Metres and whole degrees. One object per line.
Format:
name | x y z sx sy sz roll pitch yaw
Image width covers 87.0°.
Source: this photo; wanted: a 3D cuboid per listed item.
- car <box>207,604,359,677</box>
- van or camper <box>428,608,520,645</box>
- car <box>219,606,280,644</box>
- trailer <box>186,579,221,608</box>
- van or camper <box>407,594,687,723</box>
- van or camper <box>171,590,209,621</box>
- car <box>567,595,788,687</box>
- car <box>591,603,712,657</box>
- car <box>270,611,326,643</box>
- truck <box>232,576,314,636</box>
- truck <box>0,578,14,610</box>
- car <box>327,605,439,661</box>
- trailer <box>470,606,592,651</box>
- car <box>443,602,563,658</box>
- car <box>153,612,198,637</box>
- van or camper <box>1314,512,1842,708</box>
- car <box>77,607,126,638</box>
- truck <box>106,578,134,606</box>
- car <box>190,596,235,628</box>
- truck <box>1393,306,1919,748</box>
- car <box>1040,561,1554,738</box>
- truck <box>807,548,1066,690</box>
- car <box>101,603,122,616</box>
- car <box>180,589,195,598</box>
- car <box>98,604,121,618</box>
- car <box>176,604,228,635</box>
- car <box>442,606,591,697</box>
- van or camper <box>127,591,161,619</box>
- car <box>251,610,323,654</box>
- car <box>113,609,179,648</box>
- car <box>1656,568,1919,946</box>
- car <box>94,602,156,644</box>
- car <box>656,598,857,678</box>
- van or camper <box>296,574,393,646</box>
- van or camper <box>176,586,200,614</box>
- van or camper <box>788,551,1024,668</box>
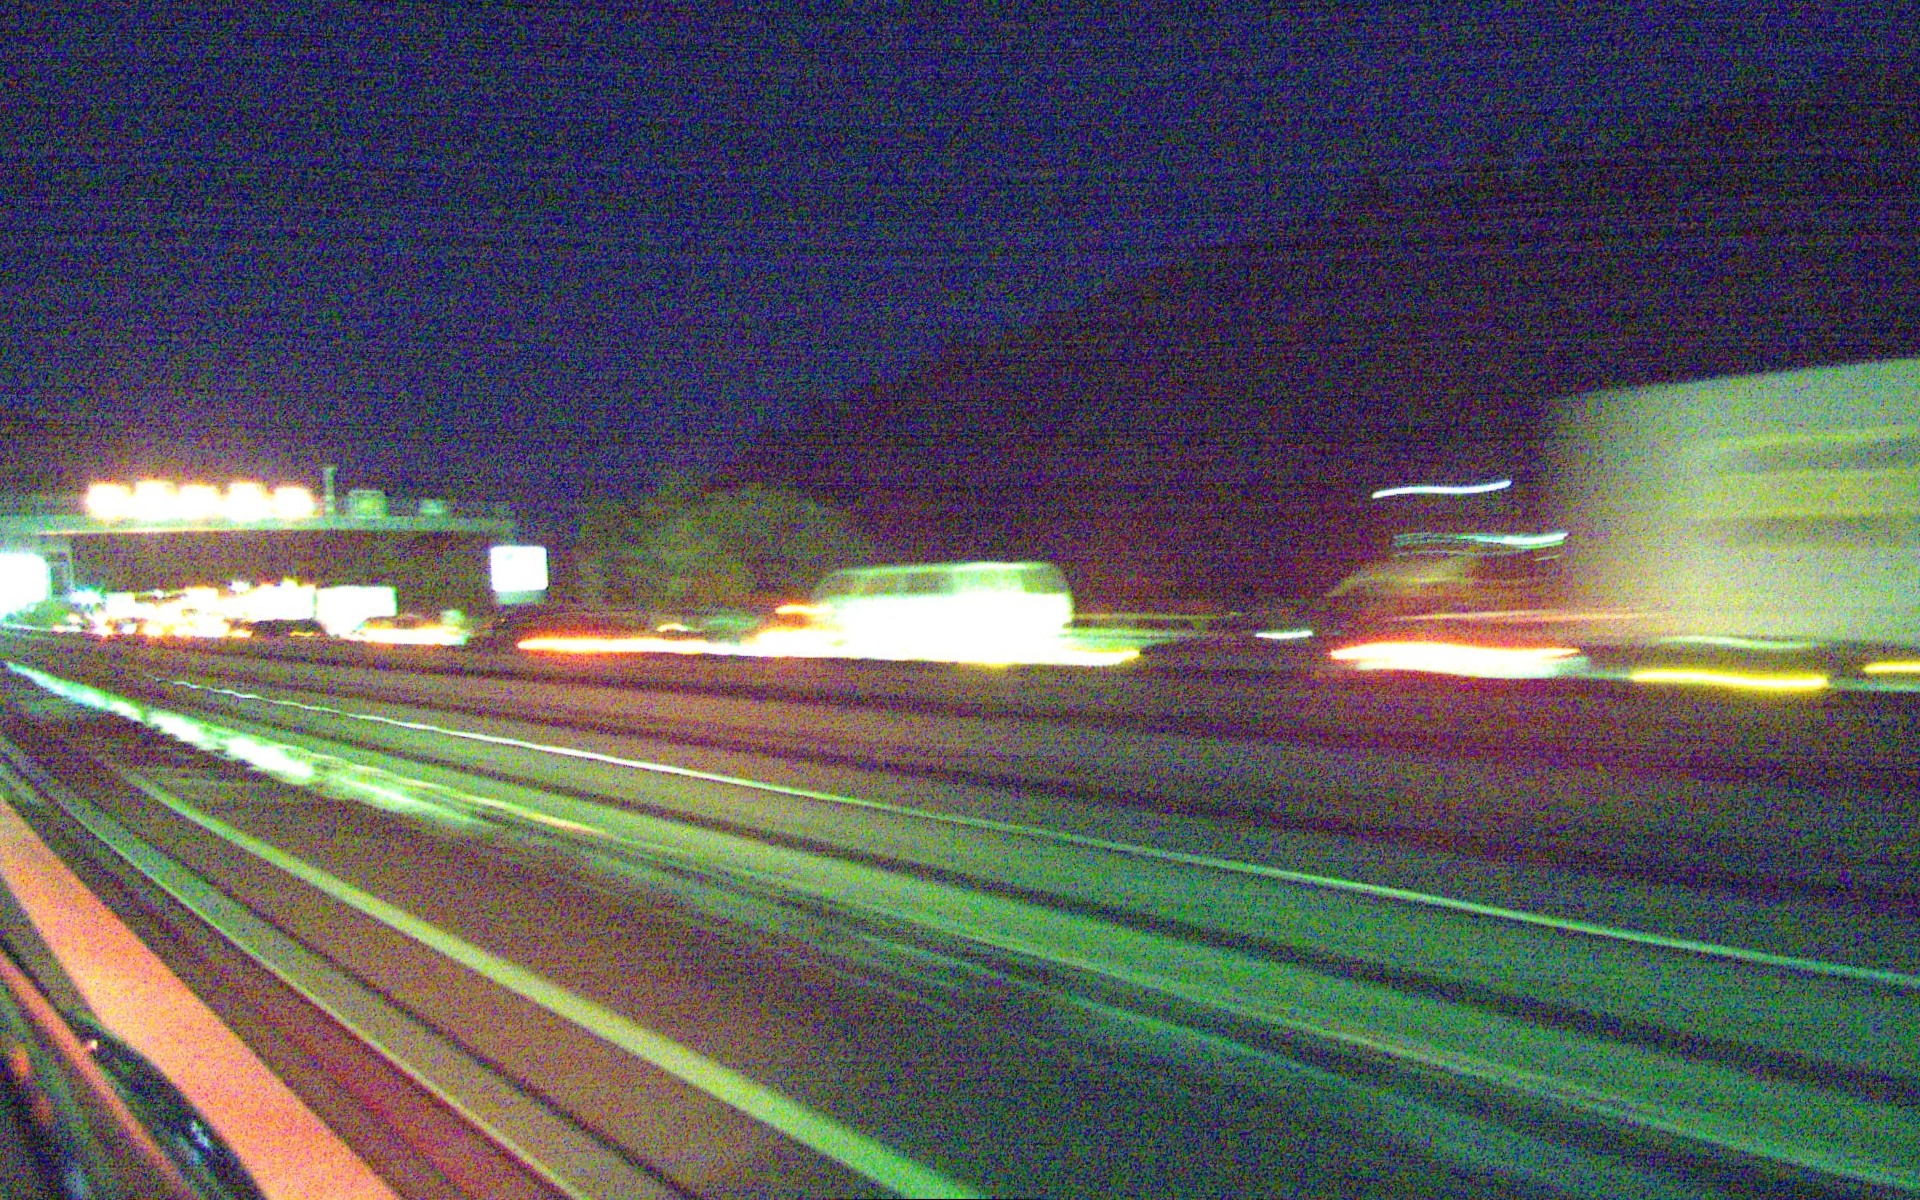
car | -15.553 0.844 23.138 4.868 1.503 1.883 0 0 43
van or camper | -22.139 1.161 45.980 2.197 1.561 5.219 0 -1 -45
car | -31.477 1.083 44.793 1.621 1.551 4.004 1 0 -43
trailer | -116.620 -1.103 156.199 3.389 4.273 12.869 1 0 -33
van or camper | -5.812 0.684 13.880 4.868 1.476 1.720 0 0 43
van or camper | -73.471 0.488 96.522 2.415 2.781 6.499 1 0 -41
car | -5.478 0.727 19.392 4.344 1.535 1.879 1 -2 39
car | -10.679 0.961 34.804 4.735 1.666 1.790 1 1 42
car | -34.731 1.399 53.049 1.621 1.551 4.441 1 0 -44
truck | -40.568 0.323 59.671 7.725 3.285 2.349 1 -1 44
truck | -121.471 -0.717 127.586 2.856 4.001 4.007 -1 2 -39
car | -17.212 0.926 30.086 4.858 1.542 1.688 -1 -1 45
trailer | -17.847 1.114 41.874 6.545 1.739 2.232 0 -1 44
car | -15.443 0.953 34.084 4.735 1.666 1.906 1 1 42
car | -44.272 1.343 57.089 1.515 1.346 4.223 1 -1 -44
van or camper | 9.879 0.191 16.806 7.108 2.612 2.556 -1 -1 41
car | -44.488 1.141 52.409 1.661 1.578 4.003 1 -1 -44
truck | -111.245 -1.092 134.106 2.621 3.618 8.567 -2 2 -39
car | -55.300 0.865 74.826 2.106 2.285 4.568 2 -1 -43
truck | 8.731 -0.679 11.954 6.100 4.242 2.837 -1 -1 39
car | 3.411 0.431 10.924 4.934 1.503 1.884 0 0 40
truck | -0.559 0.354 19.971 5.044 2.477 1.974 -1 -1 39
car | -100.546 1.157 119.895 1.796 1.462 4.513 1 0 -39
car | -150.903 -1.293 197.754 2.111 1.718 5.125 1 1 -36
car | -92.467 1.193 110.035 1.810 1.462 4.513 1 -1 -39
car | -39.146 0.968 52.220 1.621 1.494 4.367 1 0 -43
car | -10.786 1.152 24.478 4.110 1.864 1.659 1 4 41
van or camper | -78.375 0.455 97.171 2.227 2.614 6.697 2 -1 -41
car | -24.196 1.111 36.355 1.678 1.474 3.486 0 -1 -42
car | -27.960 0.960 34.745 3.130 1.266 1.402 -1 -1 44
car | 5.597 0.618 3.663 4.867 1.503 1.883 0 0 43
car | -36.906 0.964 44.697 1.785 1.754 4.872 1 0 -43
car | -4.841 0.823 23.613 5.075 1.689 1.867 -1 -1 40
van or camper | -28.188 0.457 46.216 2.197 3.026 7.128 0 -1 -45
van or camper | -99.272 -0.012 130.159 2.240 3.404 5.705 1 0 -39
van or camper | -1.556 0.260 26.040 6.615 2.676 1.972 -1 -1 42
